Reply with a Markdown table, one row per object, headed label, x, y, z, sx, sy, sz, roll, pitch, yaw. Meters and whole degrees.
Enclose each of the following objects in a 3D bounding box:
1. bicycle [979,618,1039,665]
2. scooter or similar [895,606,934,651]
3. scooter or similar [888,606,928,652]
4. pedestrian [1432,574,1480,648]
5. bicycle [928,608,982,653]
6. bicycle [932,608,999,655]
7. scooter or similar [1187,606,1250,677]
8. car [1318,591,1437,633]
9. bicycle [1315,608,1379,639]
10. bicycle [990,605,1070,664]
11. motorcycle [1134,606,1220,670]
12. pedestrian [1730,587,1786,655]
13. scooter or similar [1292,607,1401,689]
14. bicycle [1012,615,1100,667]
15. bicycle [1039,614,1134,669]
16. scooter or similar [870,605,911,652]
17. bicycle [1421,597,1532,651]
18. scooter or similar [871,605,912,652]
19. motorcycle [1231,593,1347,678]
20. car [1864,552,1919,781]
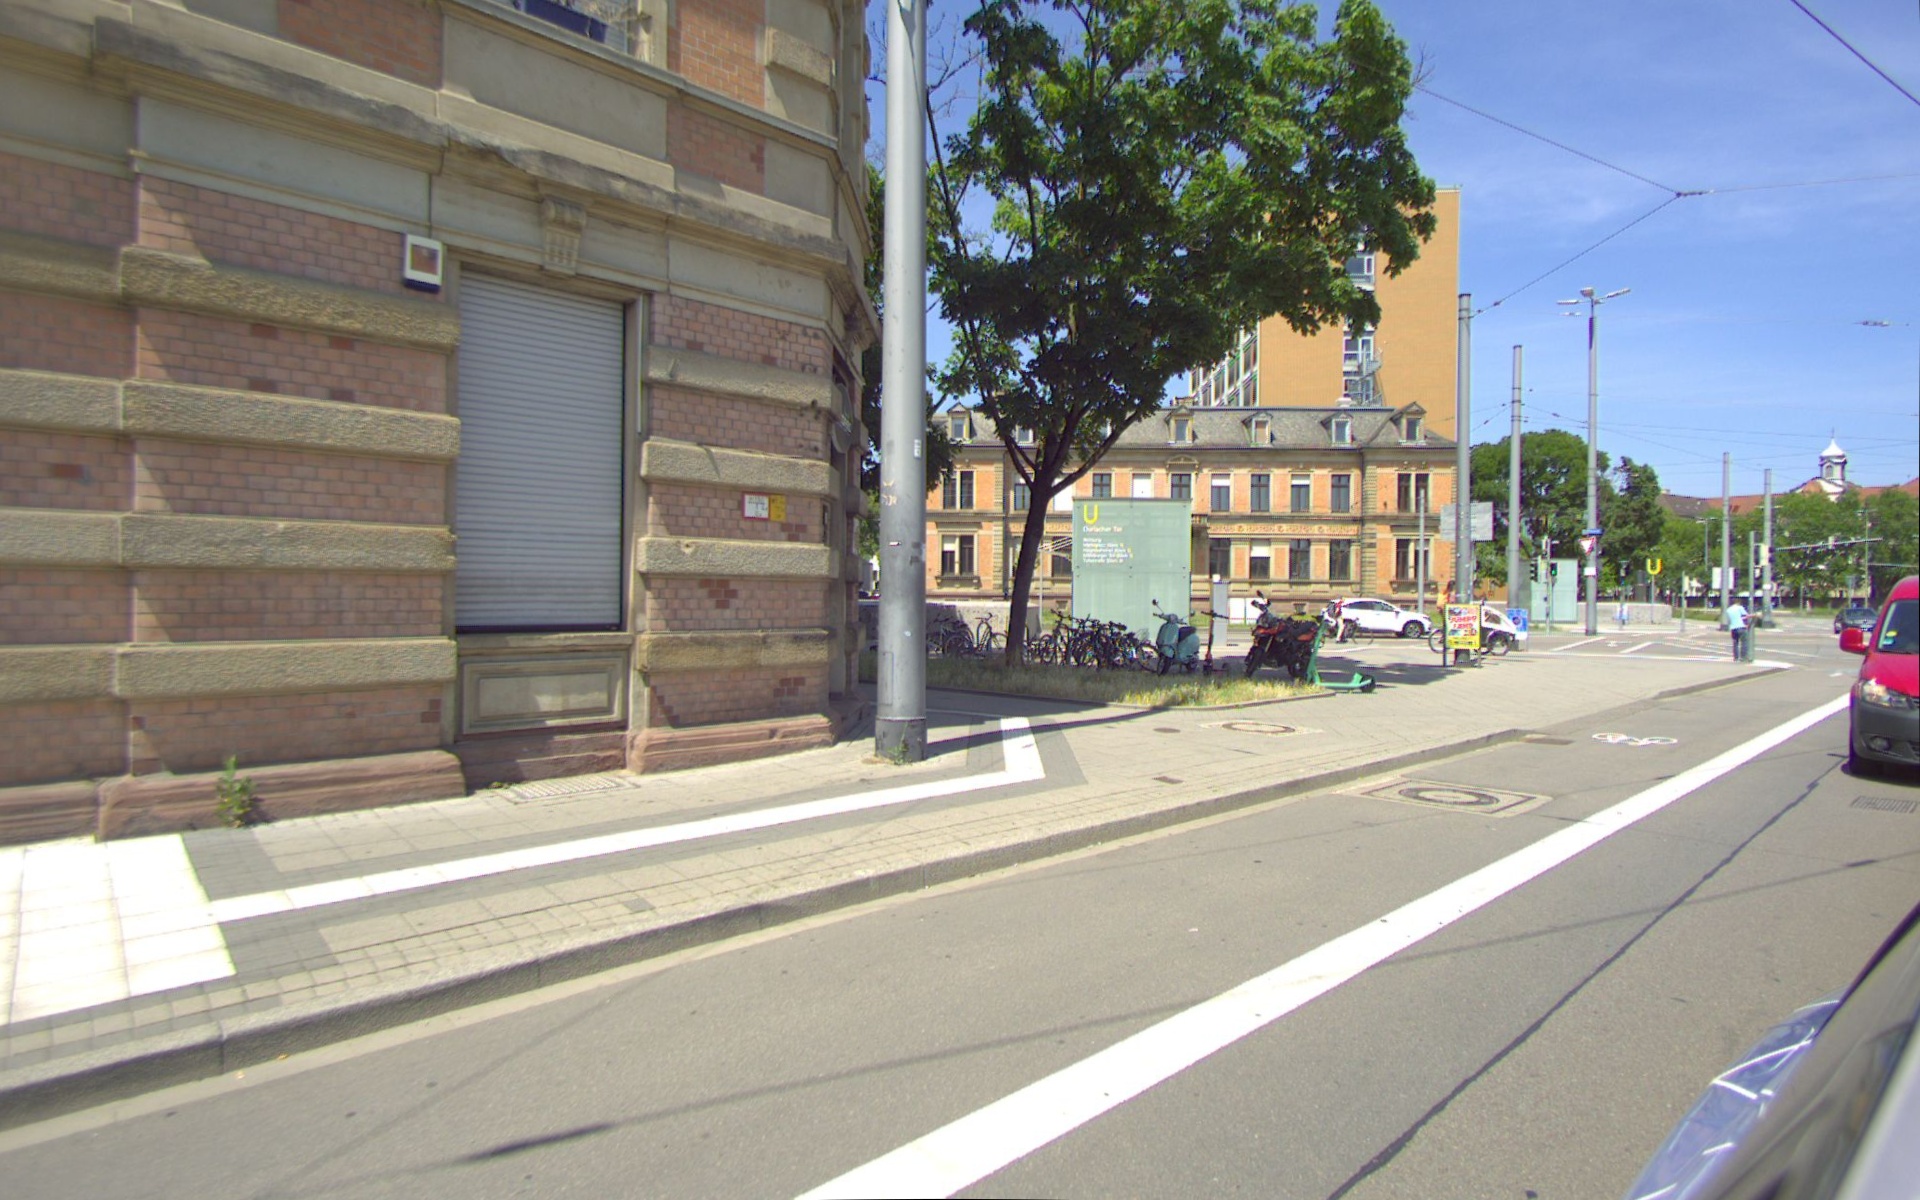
| label | x | y | z | sx | sy | sz | roll | pitch | yaw |
| --- | --- | --- | --- | --- | --- | --- | --- | --- | --- |
| bicycle | 1.041 | 0.850 | 21.221 | 0.455 | 0.917 | 1.406 | 1 | 0 | 43 |
| scooter or similar | -1.168 | 0.725 | 26.183 | 0.972 | 1.140 | 0.267 | 1 | 0 | 14 |
| scooter or similar | -1.329 | 0.721 | 25.724 | 0.972 | 1.140 | 0.267 | 1 | 0 | 14 |
| pedestrian | 12.324 | 0.261 | 25.166 | 0.810 | 1.797 | 0.813 | 0 | 0 | 4 |
| bicycle | -0.104 | 0.706 | 23.743 | 0.500 | 1.004 | 1.551 | 1 | 0 | 33 |
| bicycle | 0.127 | 0.690 | 22.403 | 1.399 | 1.004 | 0.457 | 1 | 0 | -25 |
| scooter or similar | 4.600 | 0.707 | 17.989 | 0.599 | 1.166 | 1.361 | 1 | 1 | 38 |
| car | 16.771 | 0.459 | 40.799 | 4.108 | 1.625 | 1.703 | 1 | 0 | 10 |
| bicycle | 13.488 | 0.820 | 35.308 | 1.989 | 1.018 | 0.723 | 1 | 0 | 14 |
| bicycle | 1.452 | 0.680 | 20.734 | 0.645 | 1.161 | 1.810 | 1 | 0 | 43 |
| motorcycle | 4.083 | 0.692 | 18.986 | 1.717 | 1.110 | 0.692 | 0 | 1 | -42 |
| pedestrian | 21.605 | 0.563 | 27.419 | 0.856 | 1.802 | 0.811 | 0 | 0 | -10 |
| scooter or similar | 5.843 | 0.704 | 15.381 | 1.506 | 1.170 | 0.710 | 1 | 0 | 20 |
| bicycle | 1.922 | 0.792 | 20.090 | 1.806 | 0.977 | 0.646 | 0 | 0 | -40 |
| bicycle | 2.461 | 0.770 | 19.525 | 2.046 | 0.977 | 0.646 | 0 | 0 | -42 |
| scooter or similar | -1.704 | 0.699 | 24.871 | 0.972 | 1.140 | 0.267 | 1 | 0 | 14 |
| bicycle | 12.785 | 0.572 | 25.105 | 2.181 | 1.266 | 1.098 | 1 | 0 | 4 |
| scooter or similar | -1.713 | 0.714 | 25.287 | 0.972 | 1.140 | 0.267 | 1 | 0 | 14 |
| motorcycle | 5.765 | 0.571 | 17.631 | 2.551 | 1.379 | 0.765 | 0 | 1 | -42 |
| car | 9.437 | 0.534 | 9.203 | 1.750 | 1.835 | 4.034 | 0 | 0 | 43 |
